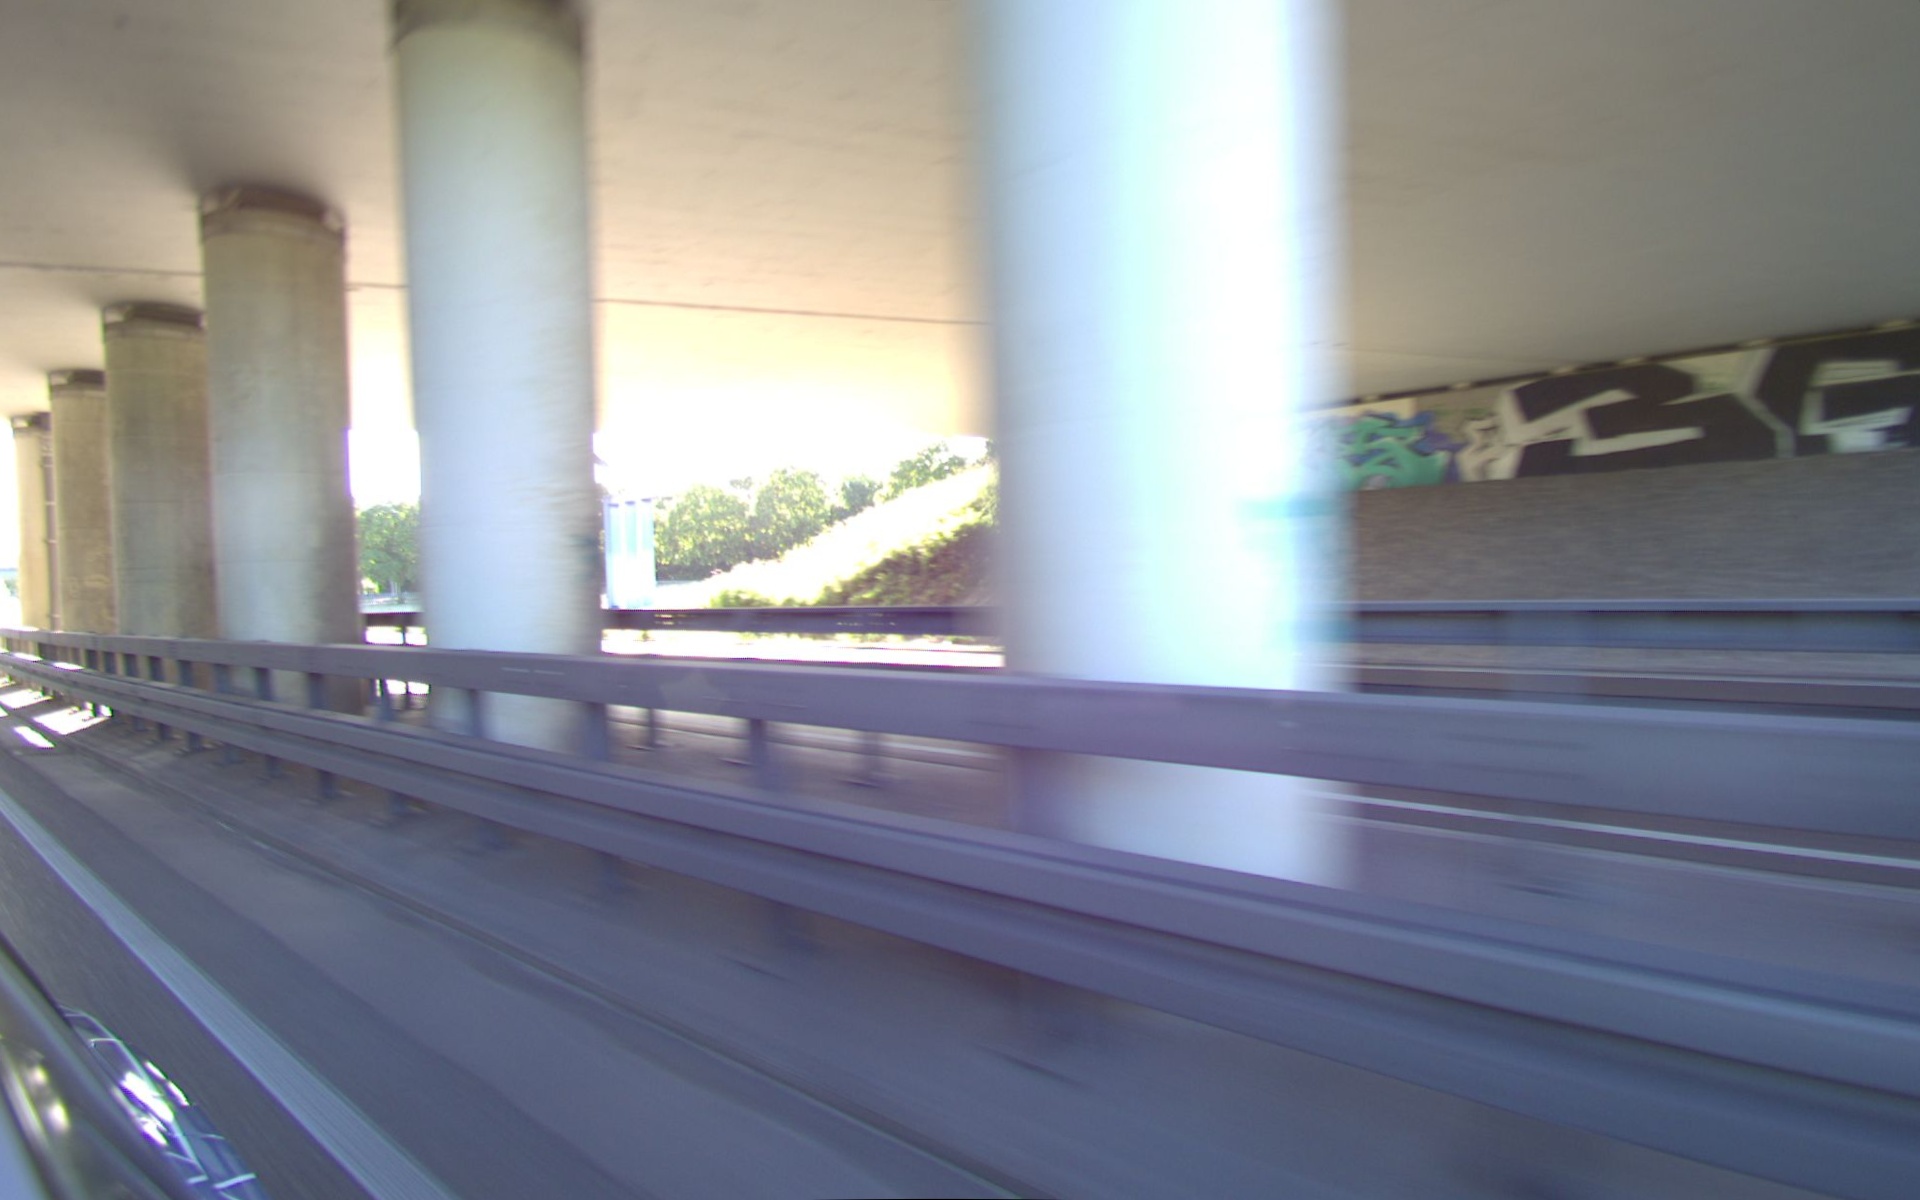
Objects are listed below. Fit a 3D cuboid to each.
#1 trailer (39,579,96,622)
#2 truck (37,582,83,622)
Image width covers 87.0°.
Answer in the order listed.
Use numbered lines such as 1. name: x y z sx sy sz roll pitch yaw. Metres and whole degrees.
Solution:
1. trailer: -82.055 0.119 92.928 12.207 3.684 2.746 -1 1 44
2. truck: -85.959 0.215 96.653 5.324 3.684 2.746 -1 1 44
